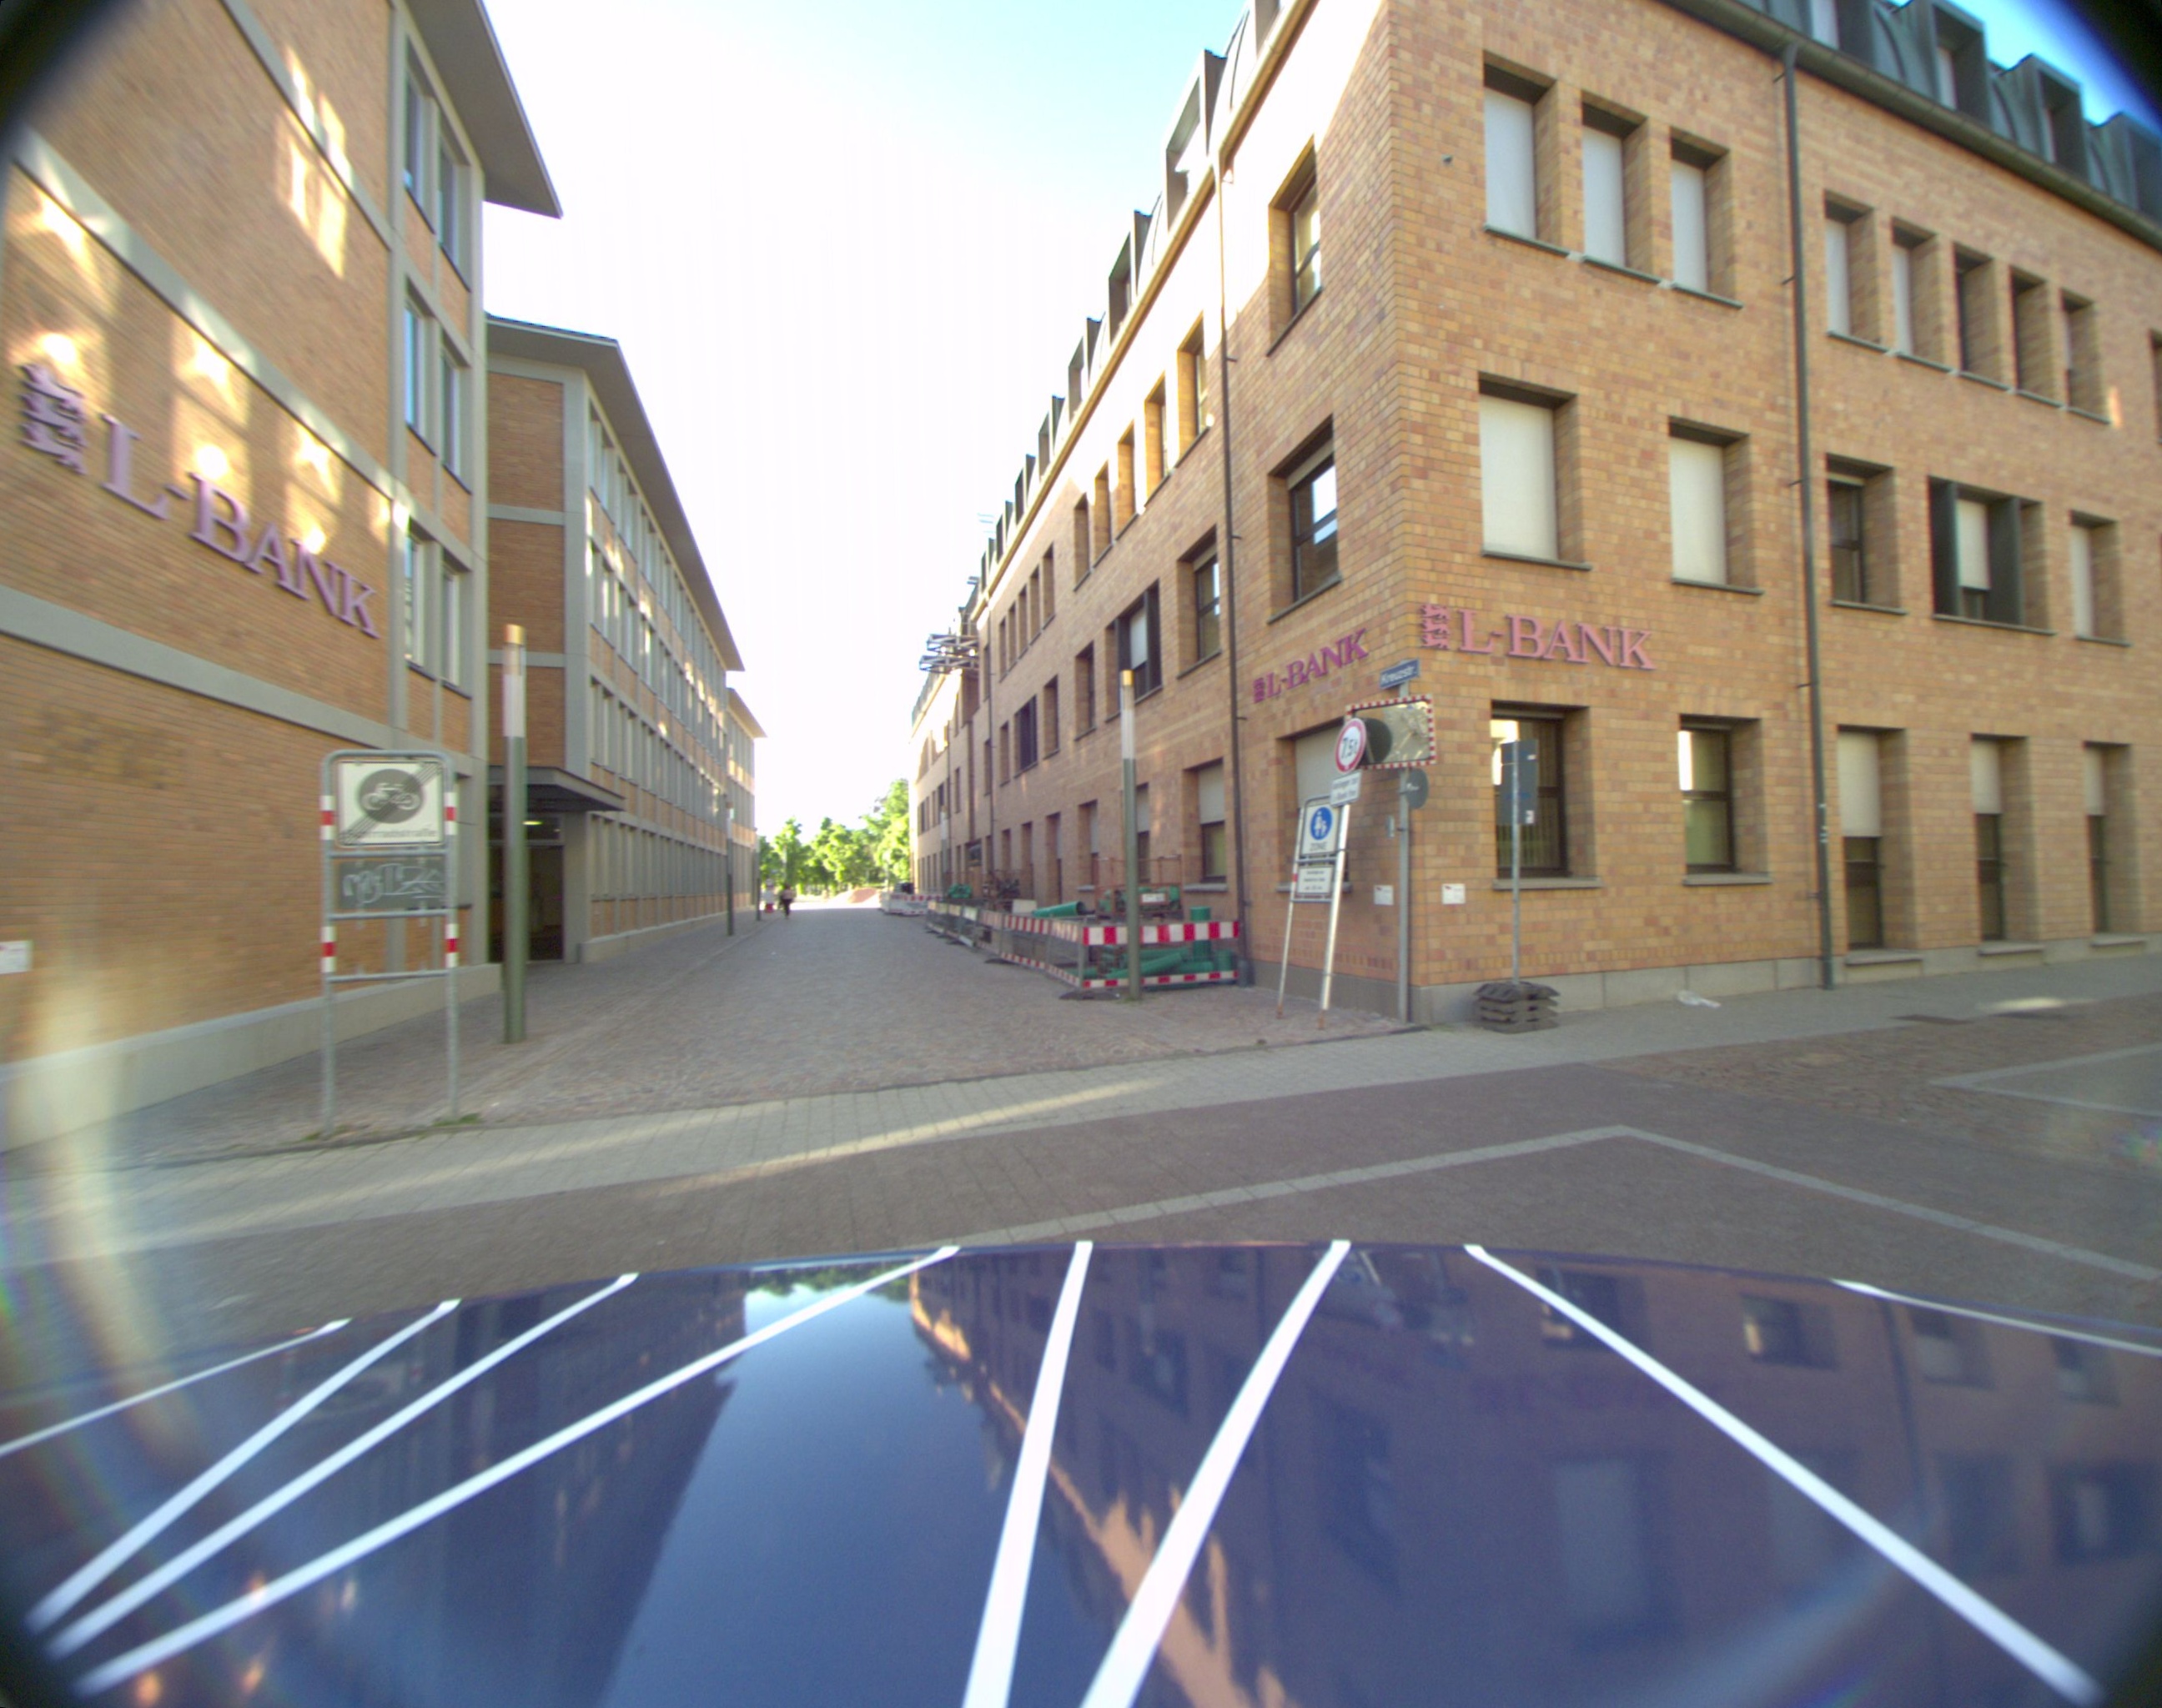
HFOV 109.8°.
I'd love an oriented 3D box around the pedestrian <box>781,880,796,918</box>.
[{"bbox_3d":[-14.204,2.193,36.918,0.639,1.774,0.651,0,-4,-18],"label":"pedestrian"}]
